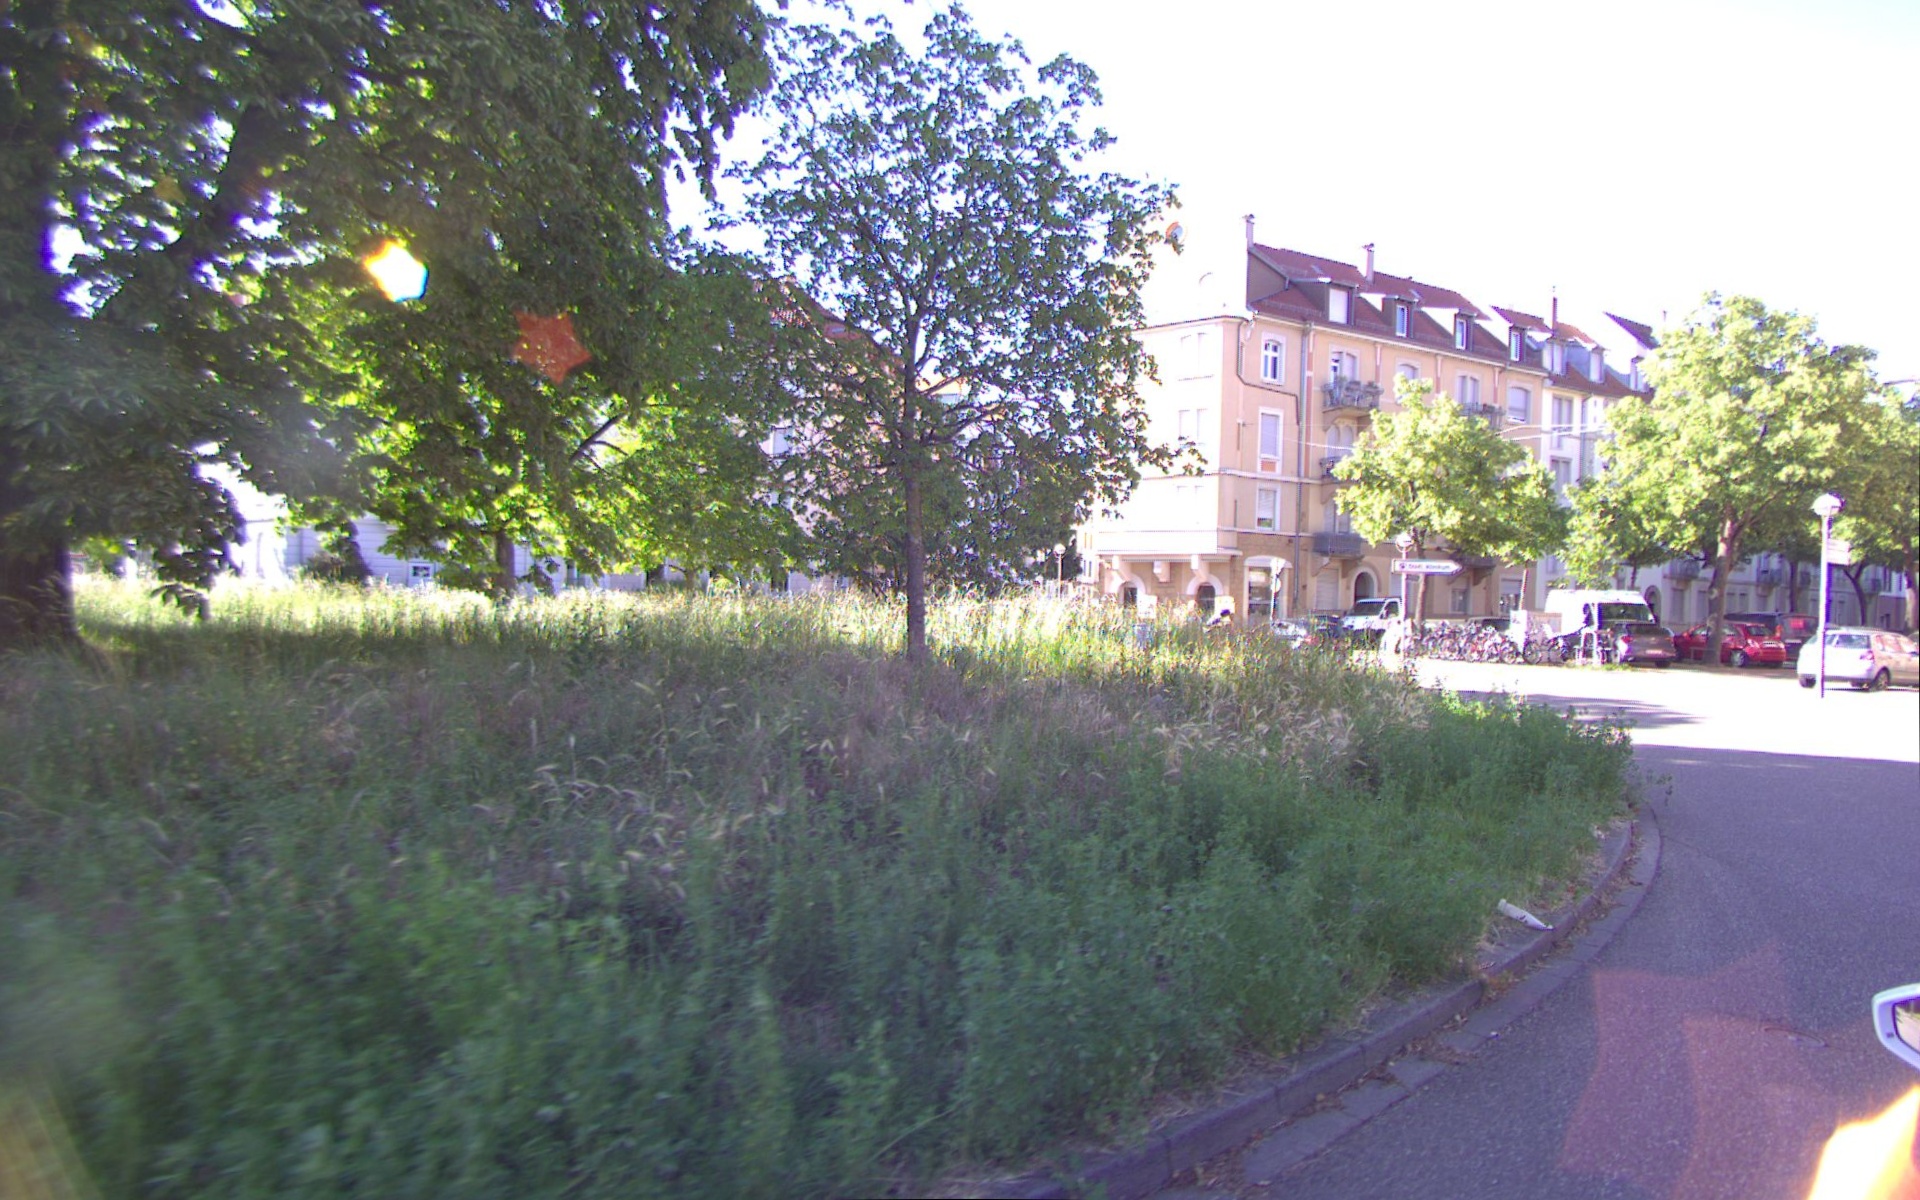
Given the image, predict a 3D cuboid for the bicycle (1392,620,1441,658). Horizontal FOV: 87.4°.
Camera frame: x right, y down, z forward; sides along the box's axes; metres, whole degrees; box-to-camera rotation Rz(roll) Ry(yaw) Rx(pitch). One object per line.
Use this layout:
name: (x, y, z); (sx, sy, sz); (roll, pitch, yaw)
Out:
bicycle: (15.189, 1.286, 33.418); (1.657, 1.209, 0.535); (1, 2, -25)

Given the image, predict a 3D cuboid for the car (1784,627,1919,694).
car: (22.328, 1.473, 24.857); (3.500, 1.466, 1.676); (2, 1, -27)

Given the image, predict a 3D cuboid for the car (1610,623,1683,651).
car: (35.771, 1.923, 52.344); (3.876, 1.408, 1.675); (2, -1, -30)

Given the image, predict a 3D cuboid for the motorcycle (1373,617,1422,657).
motorcycle: (15.383, 1.292, 35.378); (0.530, 1.287, 1.703); (1, 1, -21)

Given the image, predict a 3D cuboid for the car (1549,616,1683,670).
car: (21.088, 1.344, 32.490); (1.655, 1.466, 3.921); (2, 1, -1)

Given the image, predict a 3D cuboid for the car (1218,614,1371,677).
car: (9.029, 1.176, 27.447); (1.843, 1.438, 3.979); (-2, 1, -22)

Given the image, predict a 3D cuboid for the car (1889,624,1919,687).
car: (26.910, 1.518, 26.824); (4.239, 1.583, 1.676); (2, 1, -27)

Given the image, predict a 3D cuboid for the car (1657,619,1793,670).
car: (25.894, 1.463, 34.148); (1.659, 1.466, 3.376); (2, 1, -12)

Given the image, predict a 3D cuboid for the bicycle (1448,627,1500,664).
bicycle: (16.113, 1.426, 31.485); (1.627, 1.117, 0.497); (1, 2, -24)

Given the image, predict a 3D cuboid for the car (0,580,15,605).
car: (-49.314, -0.416, 50.559); (3.656, 1.272, 1.795); (1, 0, 34)

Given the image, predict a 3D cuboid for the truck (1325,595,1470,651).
truck: (19.301, 1.041, 44.193); (6.533, 2.322, 2.126); (1, -1, -26)

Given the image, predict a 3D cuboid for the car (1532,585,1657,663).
car: (23.835, 0.802, 38.060); (2.061, 2.635, 6.379); (2, 1, 14)

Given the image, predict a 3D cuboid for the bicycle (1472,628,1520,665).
bicycle: (16.605, 1.422, 31.114); (1.551, 1.104, 0.417); (1, 2, -24)

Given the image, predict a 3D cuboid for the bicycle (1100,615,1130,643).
bicycle: (6.422, 1.185, 41.557); (0.475, 1.138, 1.713); (1, 0, 36)

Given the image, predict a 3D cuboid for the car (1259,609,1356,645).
car: (14.343, 1.125, 41.404); (3.876, 1.408, 1.675); (2, -1, -30)

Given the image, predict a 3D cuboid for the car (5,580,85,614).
car: (-40.232, -0.138, 44.141); (3.934, 1.431, 1.794); (1, 0, 35)

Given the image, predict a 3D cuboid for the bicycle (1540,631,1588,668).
bicycle: (18.431, 1.509, 30.635); (1.505, 1.101, 0.417); (1, 2, -23)

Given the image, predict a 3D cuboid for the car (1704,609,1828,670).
car: (28.086, 1.322, 35.145); (1.654, 1.890, 3.385); (2, 1, 3)

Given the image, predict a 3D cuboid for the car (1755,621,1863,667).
car: (31.966, 1.623, 37.938); (1.654, 1.490, 3.385); (2, 1, 12)

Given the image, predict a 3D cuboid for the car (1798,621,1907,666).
car: (34.625, 1.666, 39.089); (1.654, 1.490, 3.385); (2, 1, 12)

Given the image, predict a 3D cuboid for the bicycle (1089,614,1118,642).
bicycle: (5.987, 1.178, 41.870); (0.475, 1.138, 1.692); (1, 0, 33)

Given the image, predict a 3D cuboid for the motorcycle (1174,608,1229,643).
motorcycle: (10.793, 1.134, 44.899); (2.212, 1.430, 0.698); (3, 2, 33)

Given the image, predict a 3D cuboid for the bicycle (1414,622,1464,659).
bicycle: (15.611, 1.317, 32.753); (1.580, 1.142, 0.585); (1, 2, -25)

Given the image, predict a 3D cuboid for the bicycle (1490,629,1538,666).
bicycle: (16.975, 1.441, 30.787); (1.505, 1.101, 0.417); (1, 2, -23)

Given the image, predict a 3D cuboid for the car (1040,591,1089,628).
car: (5.820, 0.529, 55.585); (2.098, 1.934, 4.564); (1, 0, 13)

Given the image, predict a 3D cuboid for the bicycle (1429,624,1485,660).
bicycle: (15.883, 1.328, 32.098); (1.706, 1.103, 0.653); (1, 2, -25)
